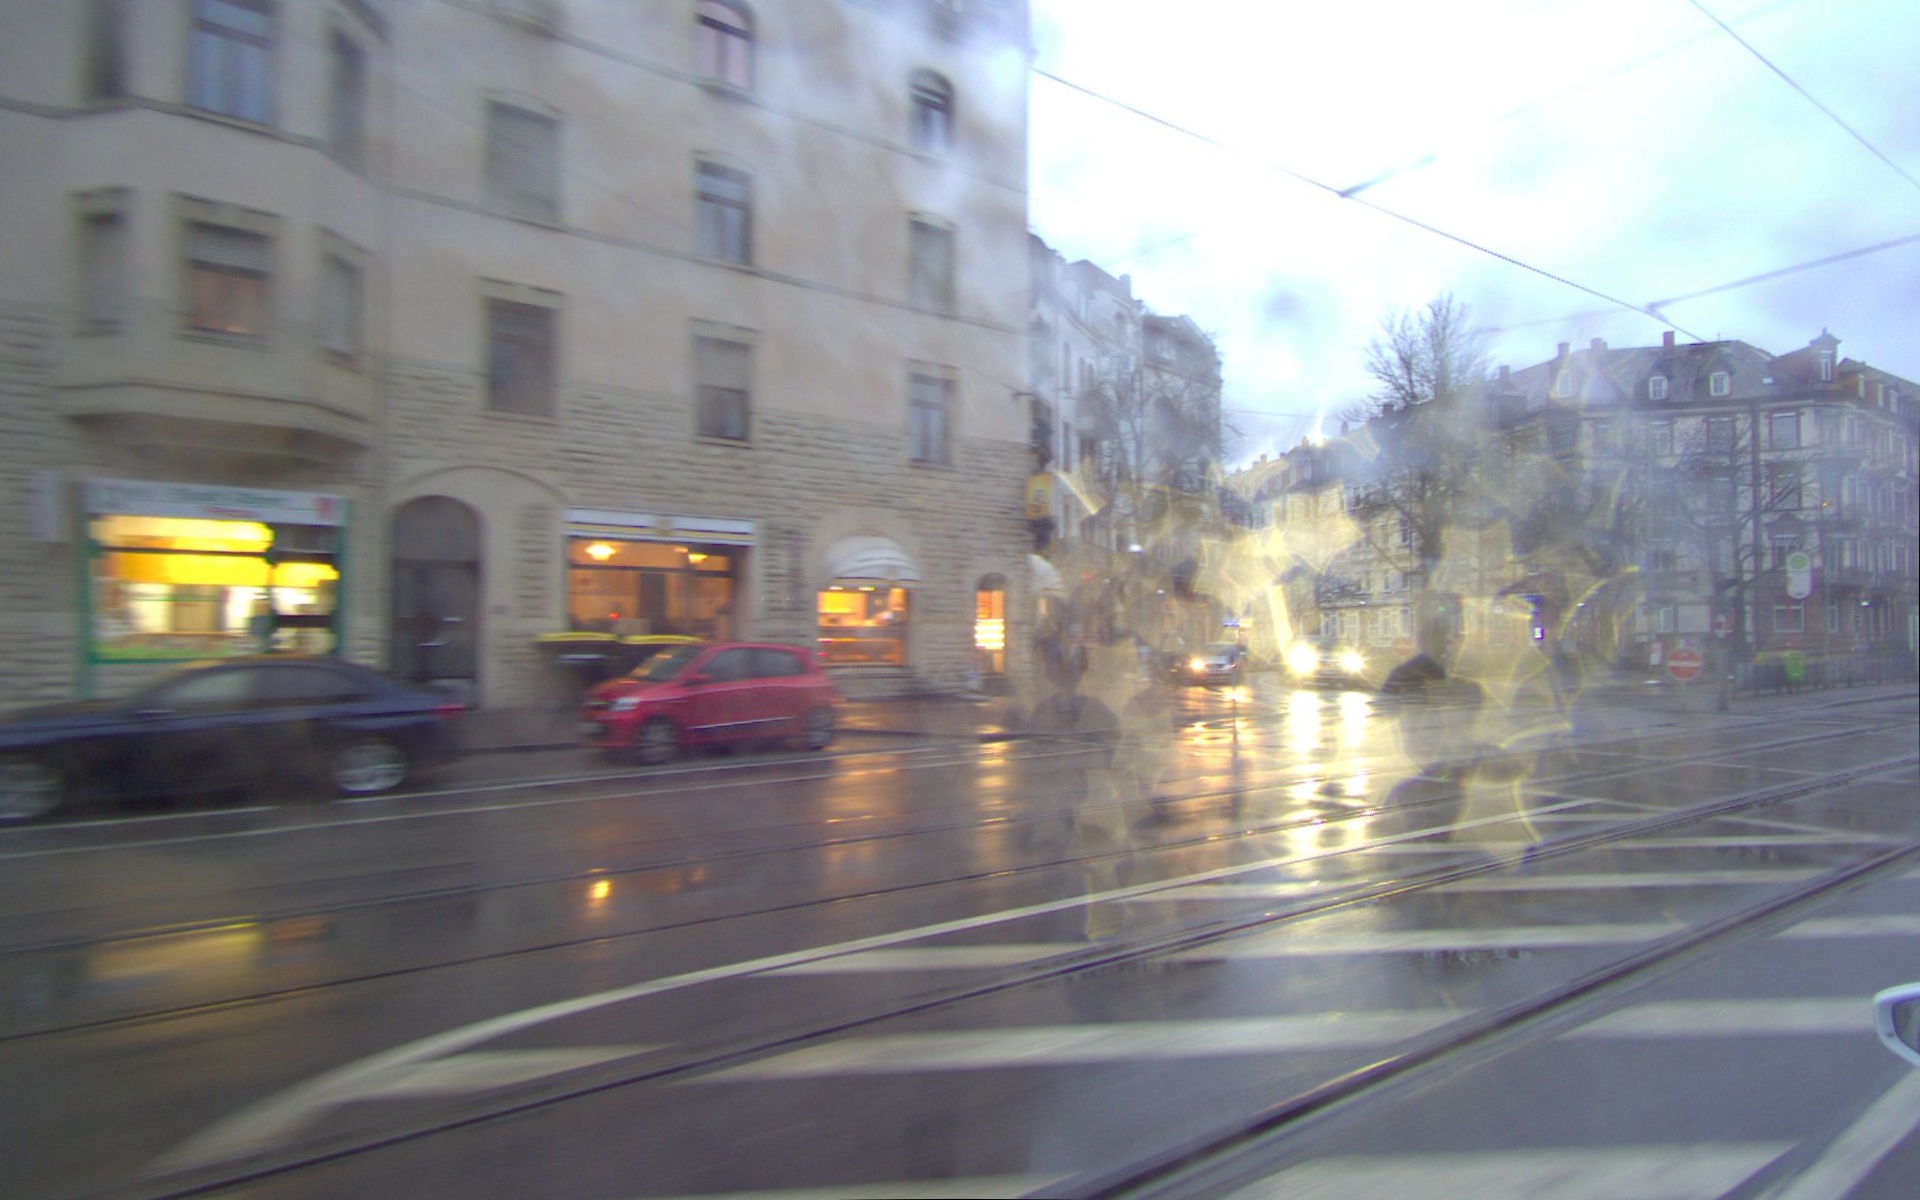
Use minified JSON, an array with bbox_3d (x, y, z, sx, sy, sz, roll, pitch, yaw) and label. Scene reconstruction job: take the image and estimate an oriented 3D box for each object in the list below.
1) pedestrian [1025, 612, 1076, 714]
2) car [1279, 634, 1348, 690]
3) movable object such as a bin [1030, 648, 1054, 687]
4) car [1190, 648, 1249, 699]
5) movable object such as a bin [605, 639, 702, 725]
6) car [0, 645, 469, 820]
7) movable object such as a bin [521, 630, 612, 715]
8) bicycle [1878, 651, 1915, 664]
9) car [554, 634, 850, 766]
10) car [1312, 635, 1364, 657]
[{"bbox_3d":[1.739,1.206,19.469,0.877,1.903,0.798,2,0,2],"label":"pedestrian"},{"bbox_3d":[11.495,1.962,32.931,1.898,1.604,4.345,1,-1,17],"label":"car"},{"bbox_3d":[2.467,2.033,30.269,0.678,1.150,0.649,0,-2,2],"label":"movable object such as a bin"},{"bbox_3d":[9.286,2.566,35.785,1.582,1.492,3.825,2,0,21],"label":"car"},{"bbox_3d":[-5.437,1.413,17.809,1.269,1.390,1.340,2,0,-36],"label":"movable object such as a bin"},{"bbox_3d":[-7.722,1.231,10.386,4.469,1.408,1.788,2,0,-38],"label":"car"},{"bbox_3d":[-6.866,1.236,17.524,1.262,1.390,0.994,2,0,-36],"label":"movable object such as a bin"},{"bbox_3d":[55.827,3.435,59.865,1.775,0.769,0.401,0,-2,2],"label":"bicycle"},{"bbox_3d":[-3.535,1.280,14.076,3.650,1.536,1.657,2,0,-41],"label":"car"},{"bbox_3d":[30.594,3.737,81.402,1.966,1.728,3.989,0,-3,-15],"label":"car"}]
